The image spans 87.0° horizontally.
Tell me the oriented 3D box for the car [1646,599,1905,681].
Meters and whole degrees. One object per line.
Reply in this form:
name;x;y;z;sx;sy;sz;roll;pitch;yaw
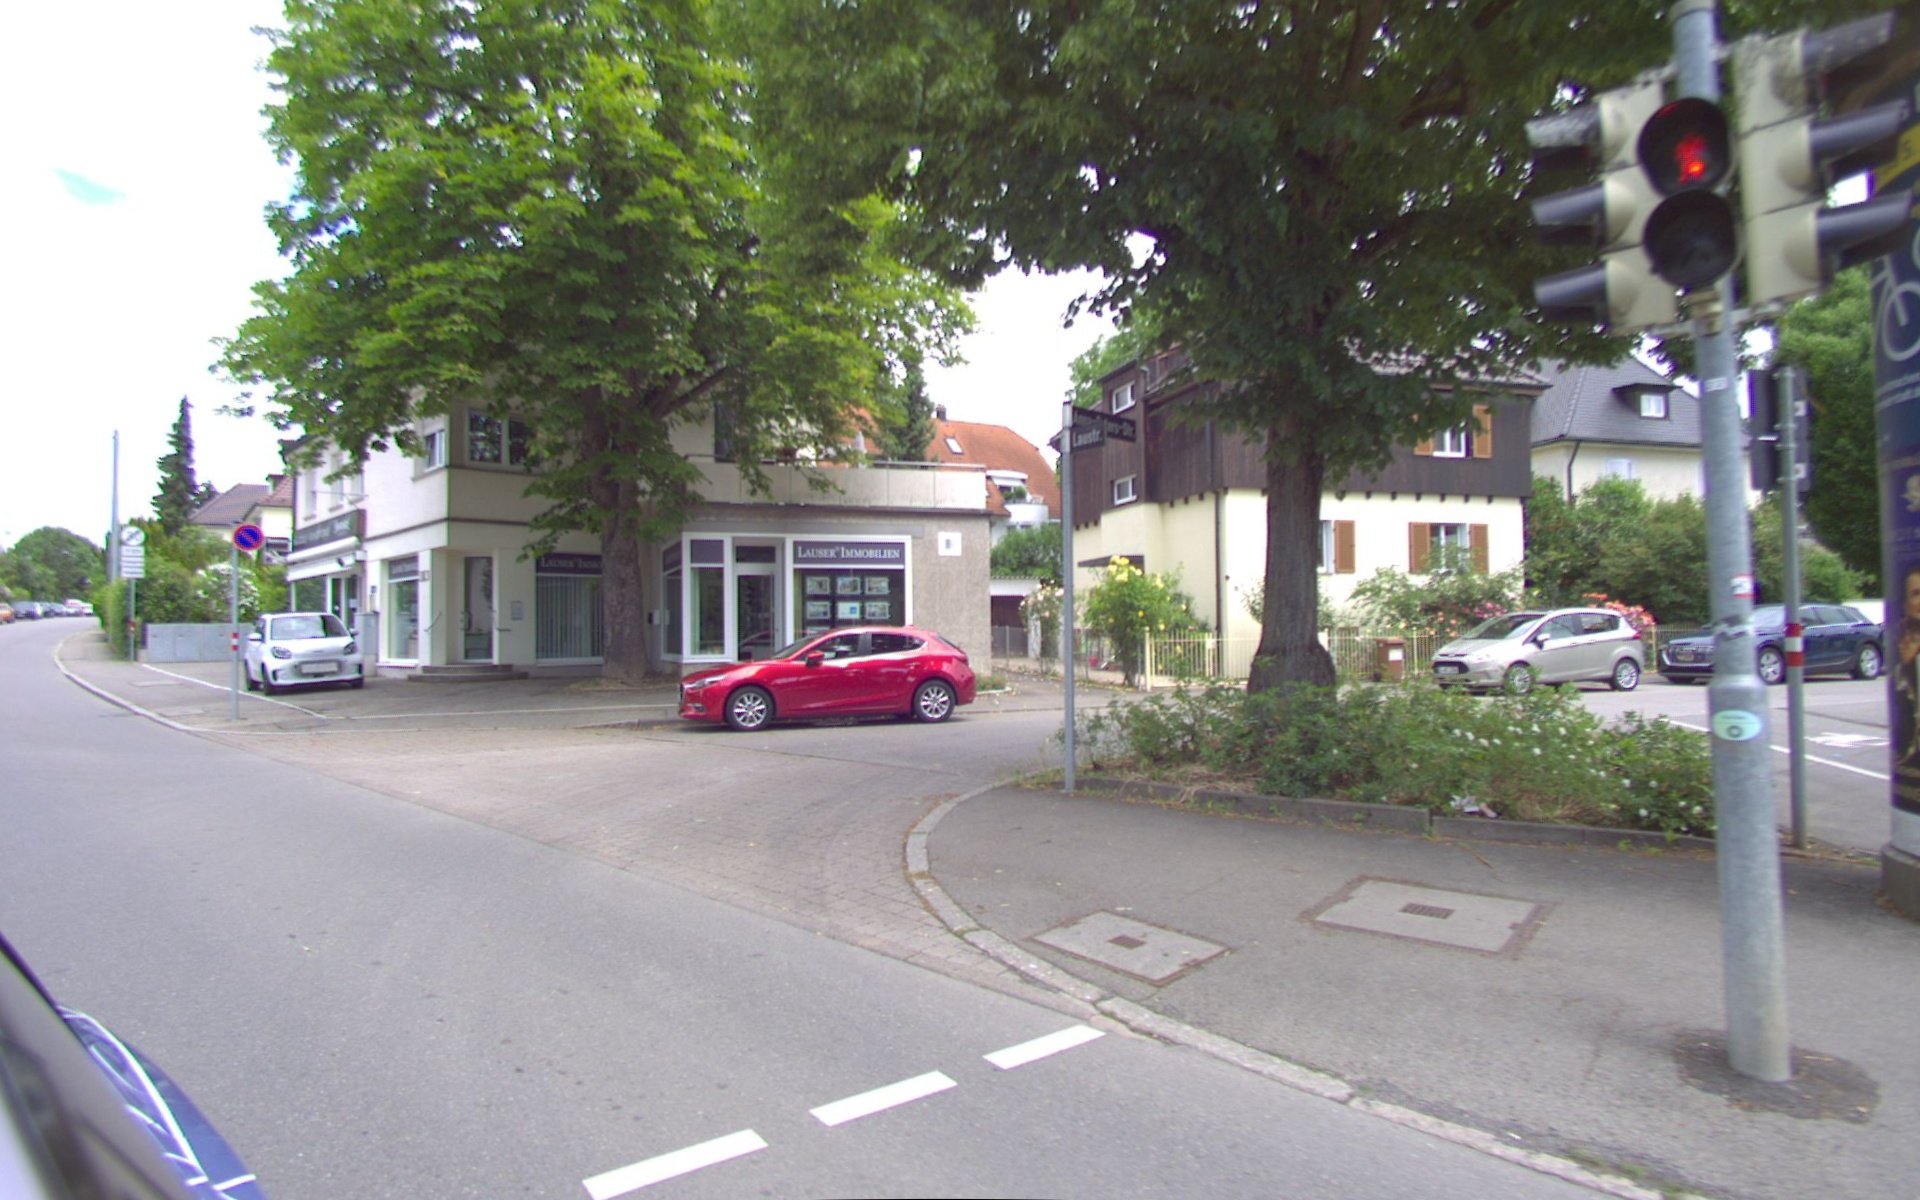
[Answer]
car;16.379;0.781;20.371;4.358;1.506;1.933;0;-3;-18

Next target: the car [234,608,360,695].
car;-13.302;0.977;20.246;1.570;1.550;2.926;-2;1;-44

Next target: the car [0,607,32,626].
car;-84.799;1.455;90.849;1.925;1.639;4.384;-1;0;-39

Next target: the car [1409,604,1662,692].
car;10.762;0.888;18.998;3.911;1.501;1.837;-1;-3;-16

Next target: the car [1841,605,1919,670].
car;21.690;0.797;22.141;3.911;1.353;1.741;0;-3;-16

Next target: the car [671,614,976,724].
car;-2.046;0.981;14.916;4.160;1.443;1.822;0;-4;-19

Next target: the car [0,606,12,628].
car;-76.634;1.350;80.237;1.826;1.639;4.178;-1;0;-38
